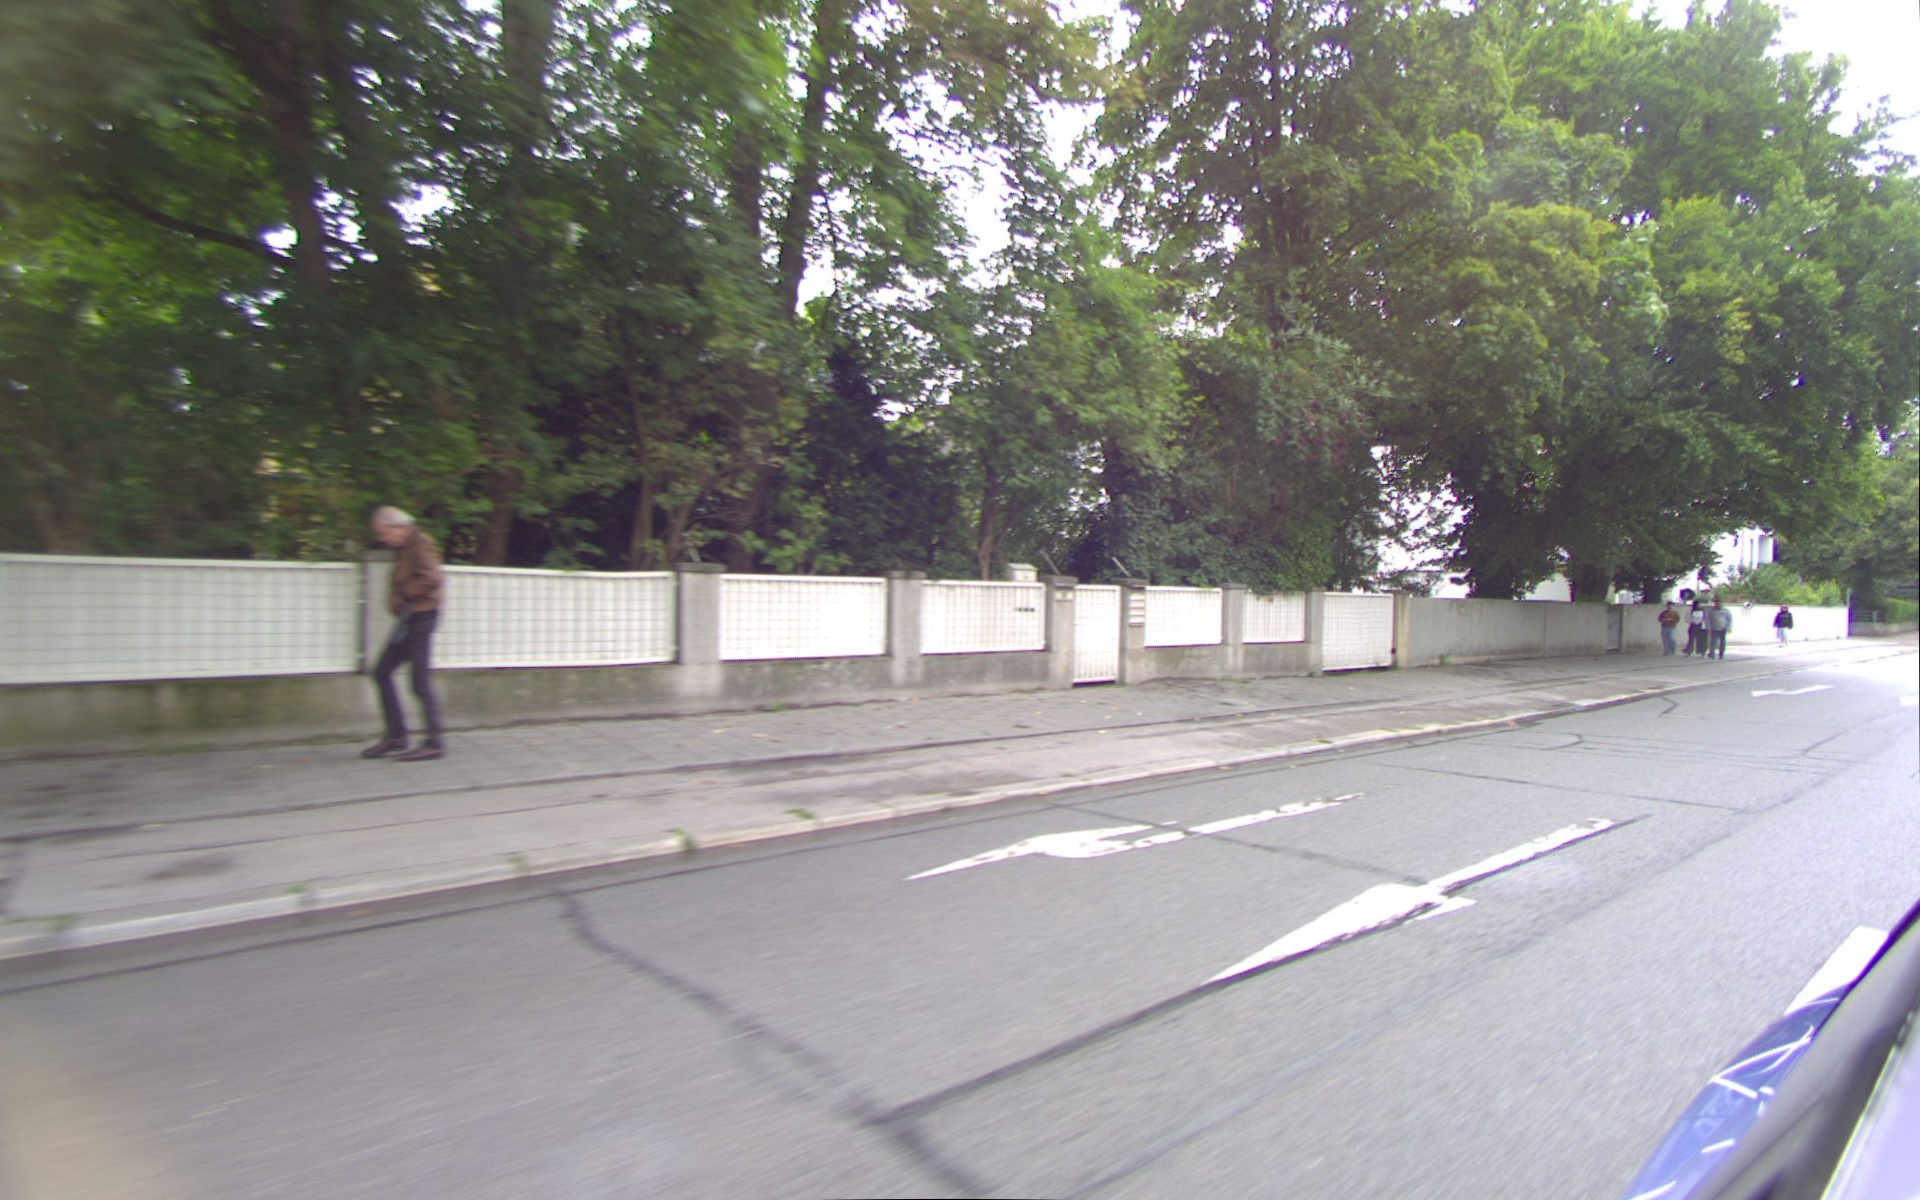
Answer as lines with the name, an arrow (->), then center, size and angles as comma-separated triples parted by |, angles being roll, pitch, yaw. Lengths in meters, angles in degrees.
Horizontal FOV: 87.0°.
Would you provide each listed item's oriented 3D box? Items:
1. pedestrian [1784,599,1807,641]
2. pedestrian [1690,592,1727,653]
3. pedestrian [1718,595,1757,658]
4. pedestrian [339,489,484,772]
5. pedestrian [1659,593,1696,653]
pedestrian -> 32.932, 0.778, 39.902 | 0.716, 1.600, 0.529 | 1, 2, -41
pedestrian -> 21.789, 0.655, 29.462 | 0.716, 1.713, 0.667 | 1, 2, -41
pedestrian -> 22.237, 0.746, 28.940 | 0.716, 1.743, 0.667 | 1, 2, -41
pedestrian -> -4.108, 0.197, 7.570 | 0.788, 1.966, 0.779 | 1, 1, -40
pedestrian -> 21.315, 0.680, 30.077 | 0.753, 1.726, 0.667 | 1, 2, -41
